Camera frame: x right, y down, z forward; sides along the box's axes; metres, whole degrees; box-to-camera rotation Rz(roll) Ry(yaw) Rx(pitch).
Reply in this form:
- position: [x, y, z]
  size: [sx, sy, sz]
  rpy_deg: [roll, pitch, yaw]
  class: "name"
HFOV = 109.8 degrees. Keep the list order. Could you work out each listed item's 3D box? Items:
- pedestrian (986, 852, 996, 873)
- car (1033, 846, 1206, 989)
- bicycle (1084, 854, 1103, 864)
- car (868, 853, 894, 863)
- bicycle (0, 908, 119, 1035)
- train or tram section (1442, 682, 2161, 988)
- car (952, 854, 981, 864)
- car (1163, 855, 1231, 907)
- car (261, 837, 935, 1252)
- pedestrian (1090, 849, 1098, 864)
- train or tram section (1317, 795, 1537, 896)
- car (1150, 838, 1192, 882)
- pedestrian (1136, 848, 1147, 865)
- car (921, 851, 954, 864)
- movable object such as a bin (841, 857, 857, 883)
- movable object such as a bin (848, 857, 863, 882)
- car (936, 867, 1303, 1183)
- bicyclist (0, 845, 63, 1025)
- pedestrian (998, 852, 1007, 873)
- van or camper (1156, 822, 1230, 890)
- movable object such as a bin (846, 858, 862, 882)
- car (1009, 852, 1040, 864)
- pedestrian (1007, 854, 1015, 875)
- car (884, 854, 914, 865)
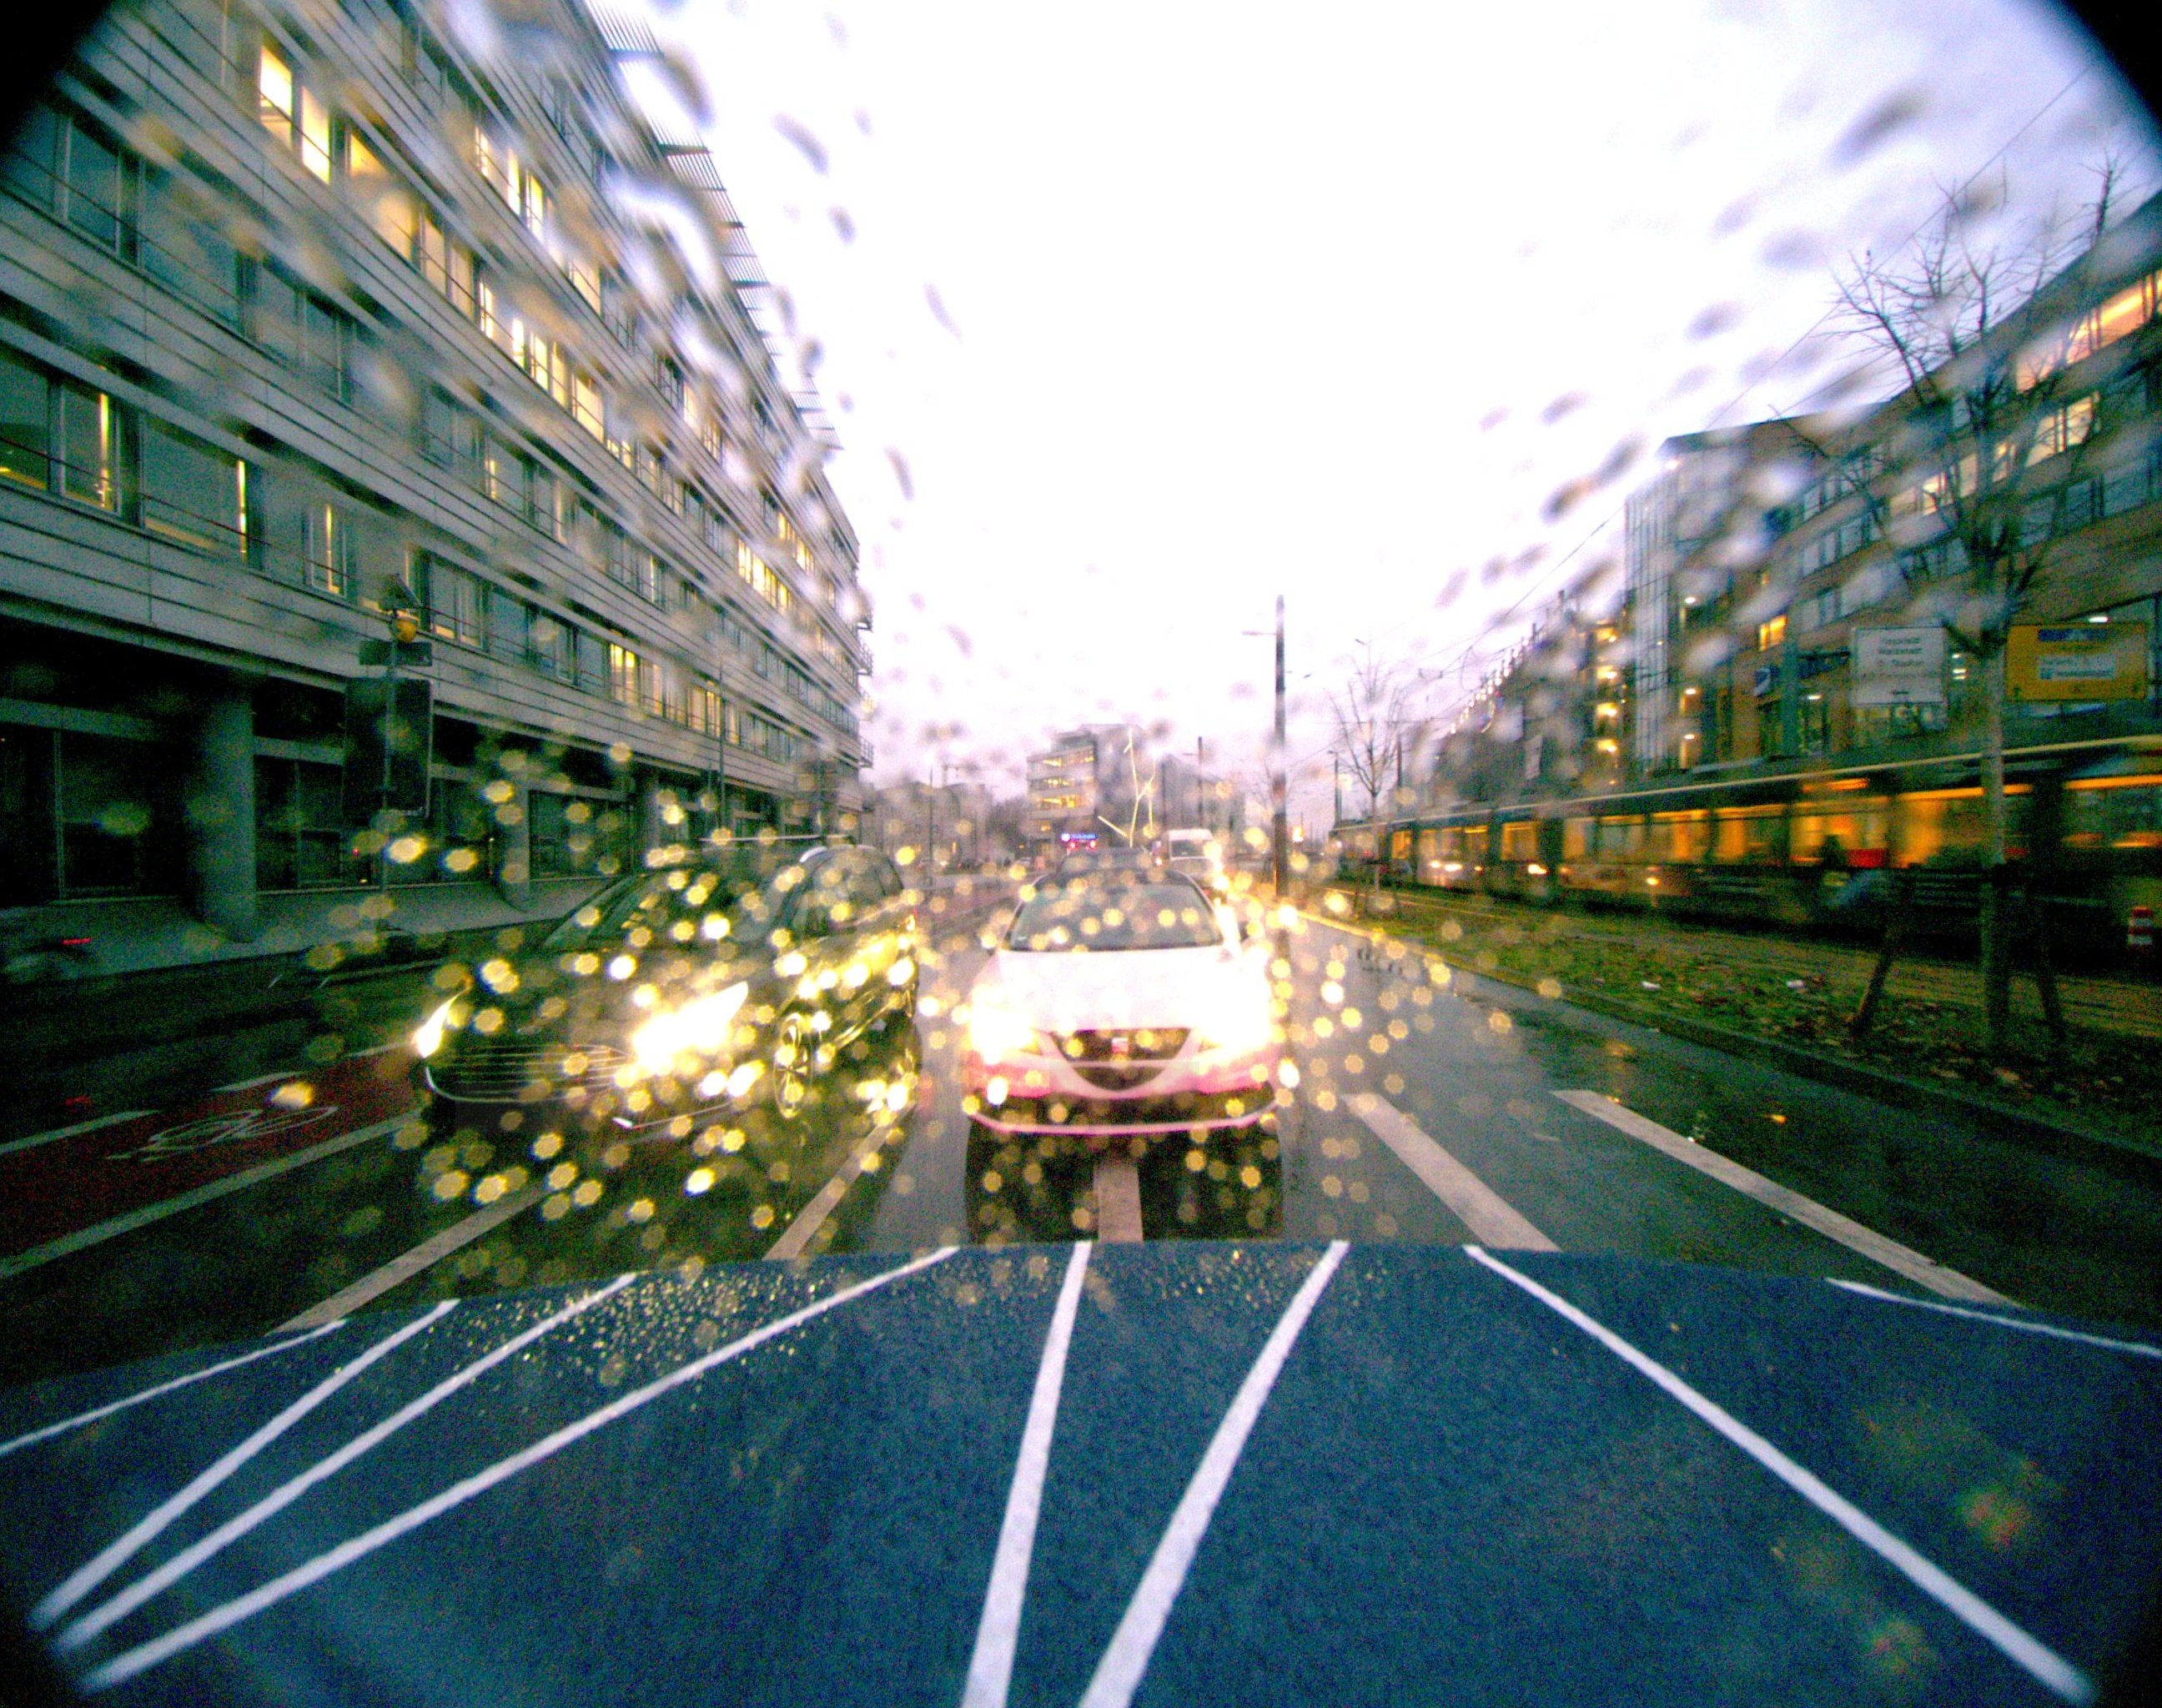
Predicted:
- position: [-7.436, 0.692, 62.841]
  size: [0.747, 1.692, 0.969]
  rpy_deg: [2, 1, -3]
  class: "pedestrian"
- position: [0.520, 0.799, 12.094]
  size: [2.169, 1.744, 4.541]
  rpy_deg: [-2, 1, 0]
  class: "car"
- position: [1.571, 0.624, 95.487]
  size: [2.207, 1.182, 0.667]
  rpy_deg: [0, 1, -16]
  class: "bicycle"
- position: [-35.468, 0.686, 134.701]
  size: [4.021, 1.645, 1.905]
  rpy_deg: [-1, 0, 17]
  class: "car"
- position: [-11.119, 1.210, 7.644]
  size: [0.681, 1.191, 1.760]
  rpy_deg: [0, 0, -3]
  class: "bicycle"
- position: [14.444, -0.291, 18.371]
  size: [2.871, 3.593, 19.214]
  rpy_deg: [0, 0, 2]
  class: "train or tram section"
- position: [-16.926, 0.716, 112.226]
  size: [3.759, 1.528, 1.782]
  rpy_deg: [0, 0, 17]
  class: "car"
- position: [3.621, 0.806, 24.320]
  size: [1.759, 1.338, 4.056]
  rpy_deg: [-1, 2, 3]
  class: "car"
- position: [-2.606, 0.849, 5.715]
  size: [1.887, 1.800, 4.671]
  rpy_deg: [-2, 0, 2]
  class: "car"
- position: [1.601, 0.310, 95.507]
  size: [0.894, 1.783, 0.667]
  rpy_deg: [0, 1, -15]
  class: "pedestrian"
- position: [15.457, -0.363, 37.179]
  size: [2.871, 3.593, 20.075]
  rpy_deg: [0, 0, 4]
  class: "train or tram section"
- position: [6.153, 0.384, 52.769]
  size: [2.129, 2.847, 5.813]
  rpy_deg: [-1, 0, 0]
  class: "car"
- position: [7.041, 0.257, 87.990]
  size: [1.118, 2.002, 1.034]
  rpy_deg: [0, 1, 15]
  class: "pedestrian"
- position: [-21.406, 0.531, 113.711]
  size: [4.368, 1.750, 2.002]
  rpy_deg: [-1, 1, 17]
  class: "car"
- position: [-13.252, 0.909, 43.386]
  size: [0.666, 1.420, 0.840]
  rpy_deg: [-1, 1, -2]
  class: "movable object such as a bin"
- position: [-13.412, 0.927, 45.213]
  size: [0.666, 1.468, 0.840]
  rpy_deg: [-1, 1, -2]
  class: "movable object such as a bin"
- position: [0.216, 0.877, 5.712]
  size: [1.782, 1.464, 3.943]
  rpy_deg: [-1, 0, 1]
  class: "car"
- position: [-11.095, 0.809, 7.608]
  size: [0.671, 1.787, 0.806]
  rpy_deg: [0, 1, -3]
  class: "bicyclist"
- position: [-6.404, 0.669, 62.201]
  size: [0.651, 1.692, 0.884]
  rpy_deg: [1, 1, -3]
  class: "pedestrian"
- position: [4.525, 0.057, 31.570]
  size: [2.153, 2.517, 5.898]
  rpy_deg: [-1, 0, 0]
  class: "van or camper"
- position: [-13.248, 0.923, 44.283]
  size: [0.666, 1.420, 0.840]
  rpy_deg: [-1, 1, -2]
  class: "movable object such as a bin"
- position: [-8.137, 0.534, 109.493]
  size: [3.918, 1.699, 1.782]
  rpy_deg: [-1, 1, 15]
  class: "car"
- position: [-5.725, 0.864, 62.291]
  size: [0.616, 1.659, 0.884]
  rpy_deg: [1, 1, -3]
  class: "pedestrian"
- position: [-27.843, 0.833, 116.073]
  size: [3.996, 1.663, 2.002]
  rpy_deg: [-1, 1, 17]
  class: "car"
